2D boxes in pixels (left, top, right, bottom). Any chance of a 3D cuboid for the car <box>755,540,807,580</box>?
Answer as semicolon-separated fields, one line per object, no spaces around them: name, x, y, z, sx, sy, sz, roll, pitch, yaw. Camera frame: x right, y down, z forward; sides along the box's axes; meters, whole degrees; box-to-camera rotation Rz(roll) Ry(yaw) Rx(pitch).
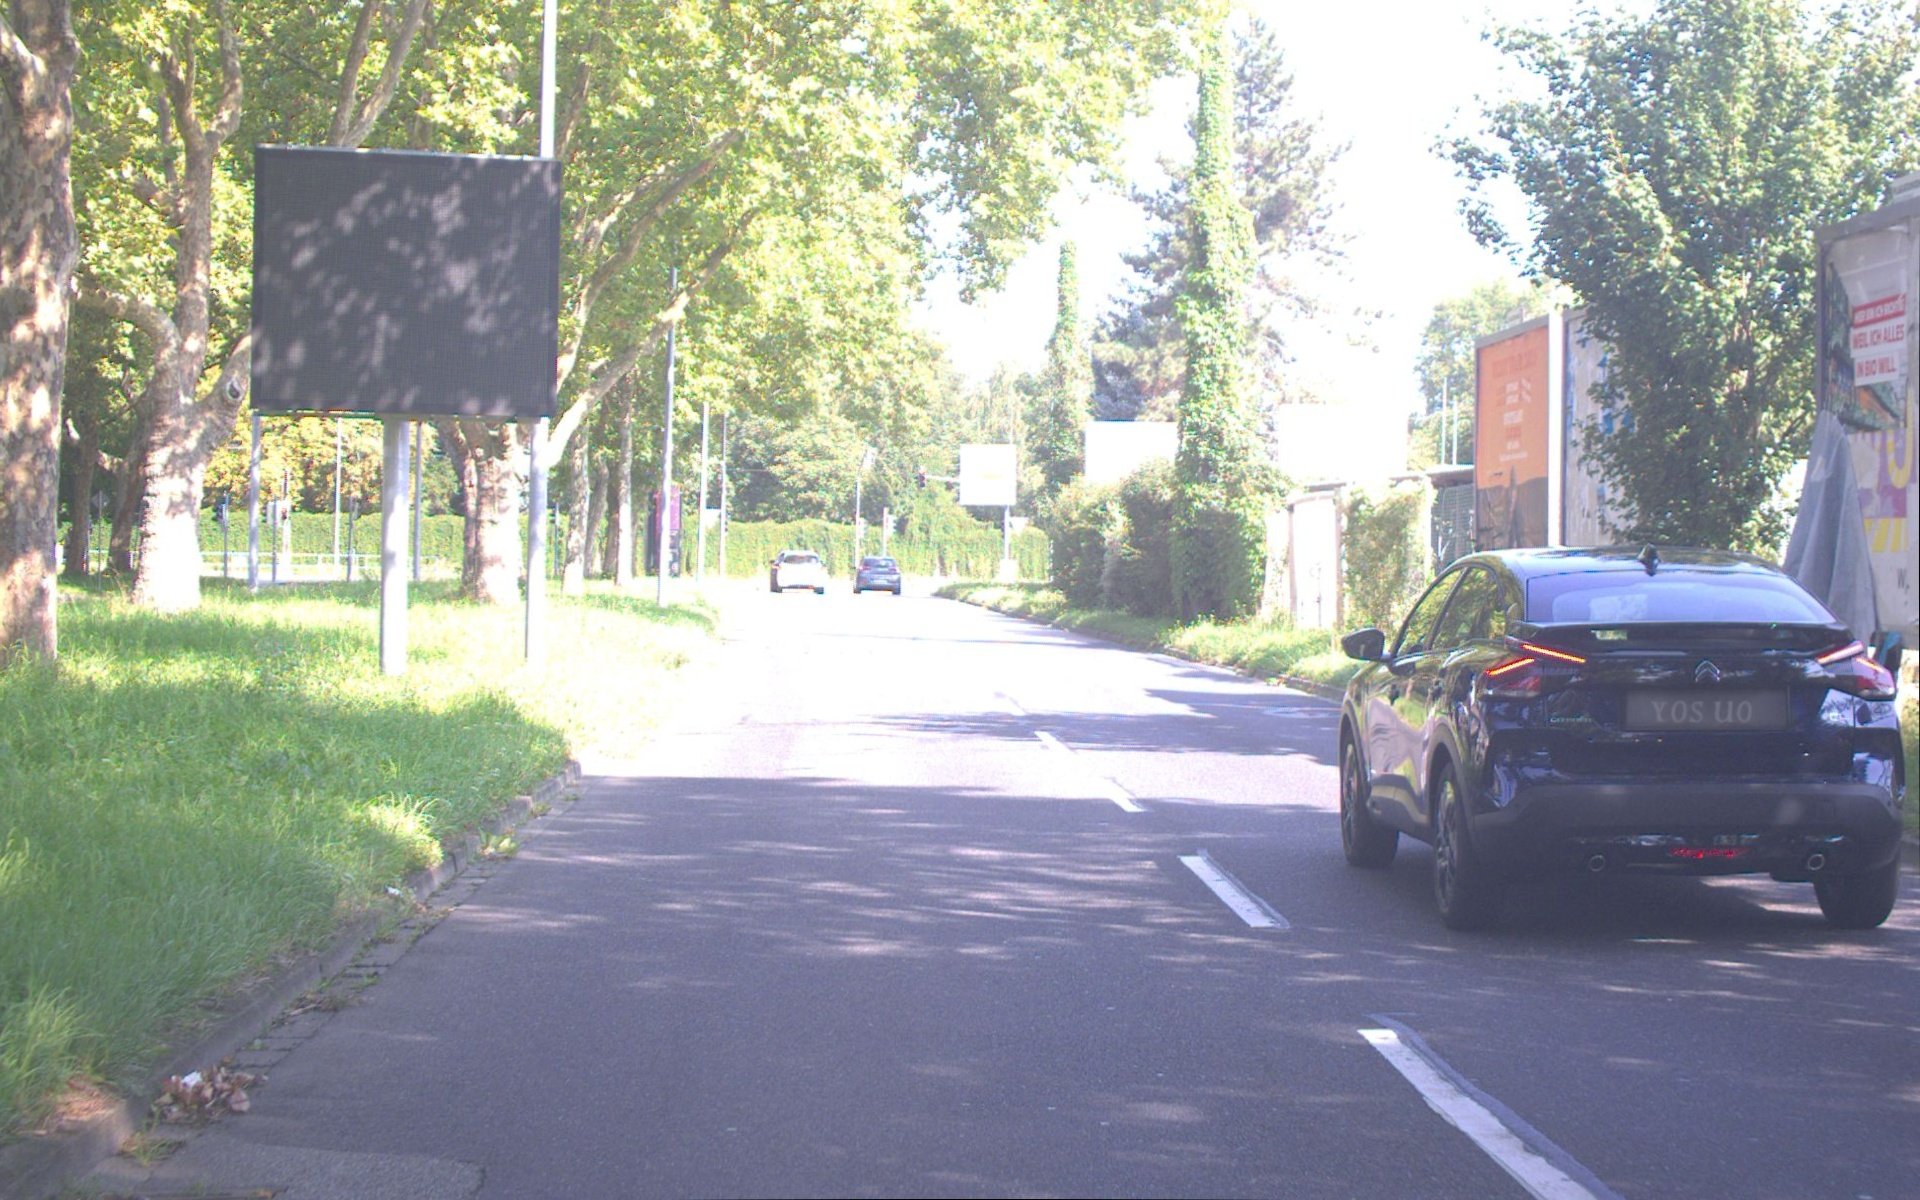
car;-6.856;-1.540;131.850;1.687;1.457;3.849;2;1;1

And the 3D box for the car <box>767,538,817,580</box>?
car;-6.045;-1.470;123.806;1.687;1.457;4.000;2;1;-2

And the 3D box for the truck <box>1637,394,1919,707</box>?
truck;7.260;-0.368;28.012;1.914;2.225;6.913;2;1;-1

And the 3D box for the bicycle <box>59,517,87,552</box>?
bicycle;-31.642;-2.325;122.623;0.544;1.195;2.762;2;1;-6

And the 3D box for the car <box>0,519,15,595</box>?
car;-22.617;-0.979;77.068;1.699;1.726;4.660;2;1;-2

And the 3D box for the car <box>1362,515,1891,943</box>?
car;2.729;0.462;14.934;1.645;1.583;4.254;0;0;3

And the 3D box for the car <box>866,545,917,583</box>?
car;-2.644;-1.393;132.555;1.797;1.396;4.001;2;1;-3

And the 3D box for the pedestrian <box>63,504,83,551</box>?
pedestrian;-31.621;-2.579;122.545;0.542;1.685;0.658;2;0;-6
